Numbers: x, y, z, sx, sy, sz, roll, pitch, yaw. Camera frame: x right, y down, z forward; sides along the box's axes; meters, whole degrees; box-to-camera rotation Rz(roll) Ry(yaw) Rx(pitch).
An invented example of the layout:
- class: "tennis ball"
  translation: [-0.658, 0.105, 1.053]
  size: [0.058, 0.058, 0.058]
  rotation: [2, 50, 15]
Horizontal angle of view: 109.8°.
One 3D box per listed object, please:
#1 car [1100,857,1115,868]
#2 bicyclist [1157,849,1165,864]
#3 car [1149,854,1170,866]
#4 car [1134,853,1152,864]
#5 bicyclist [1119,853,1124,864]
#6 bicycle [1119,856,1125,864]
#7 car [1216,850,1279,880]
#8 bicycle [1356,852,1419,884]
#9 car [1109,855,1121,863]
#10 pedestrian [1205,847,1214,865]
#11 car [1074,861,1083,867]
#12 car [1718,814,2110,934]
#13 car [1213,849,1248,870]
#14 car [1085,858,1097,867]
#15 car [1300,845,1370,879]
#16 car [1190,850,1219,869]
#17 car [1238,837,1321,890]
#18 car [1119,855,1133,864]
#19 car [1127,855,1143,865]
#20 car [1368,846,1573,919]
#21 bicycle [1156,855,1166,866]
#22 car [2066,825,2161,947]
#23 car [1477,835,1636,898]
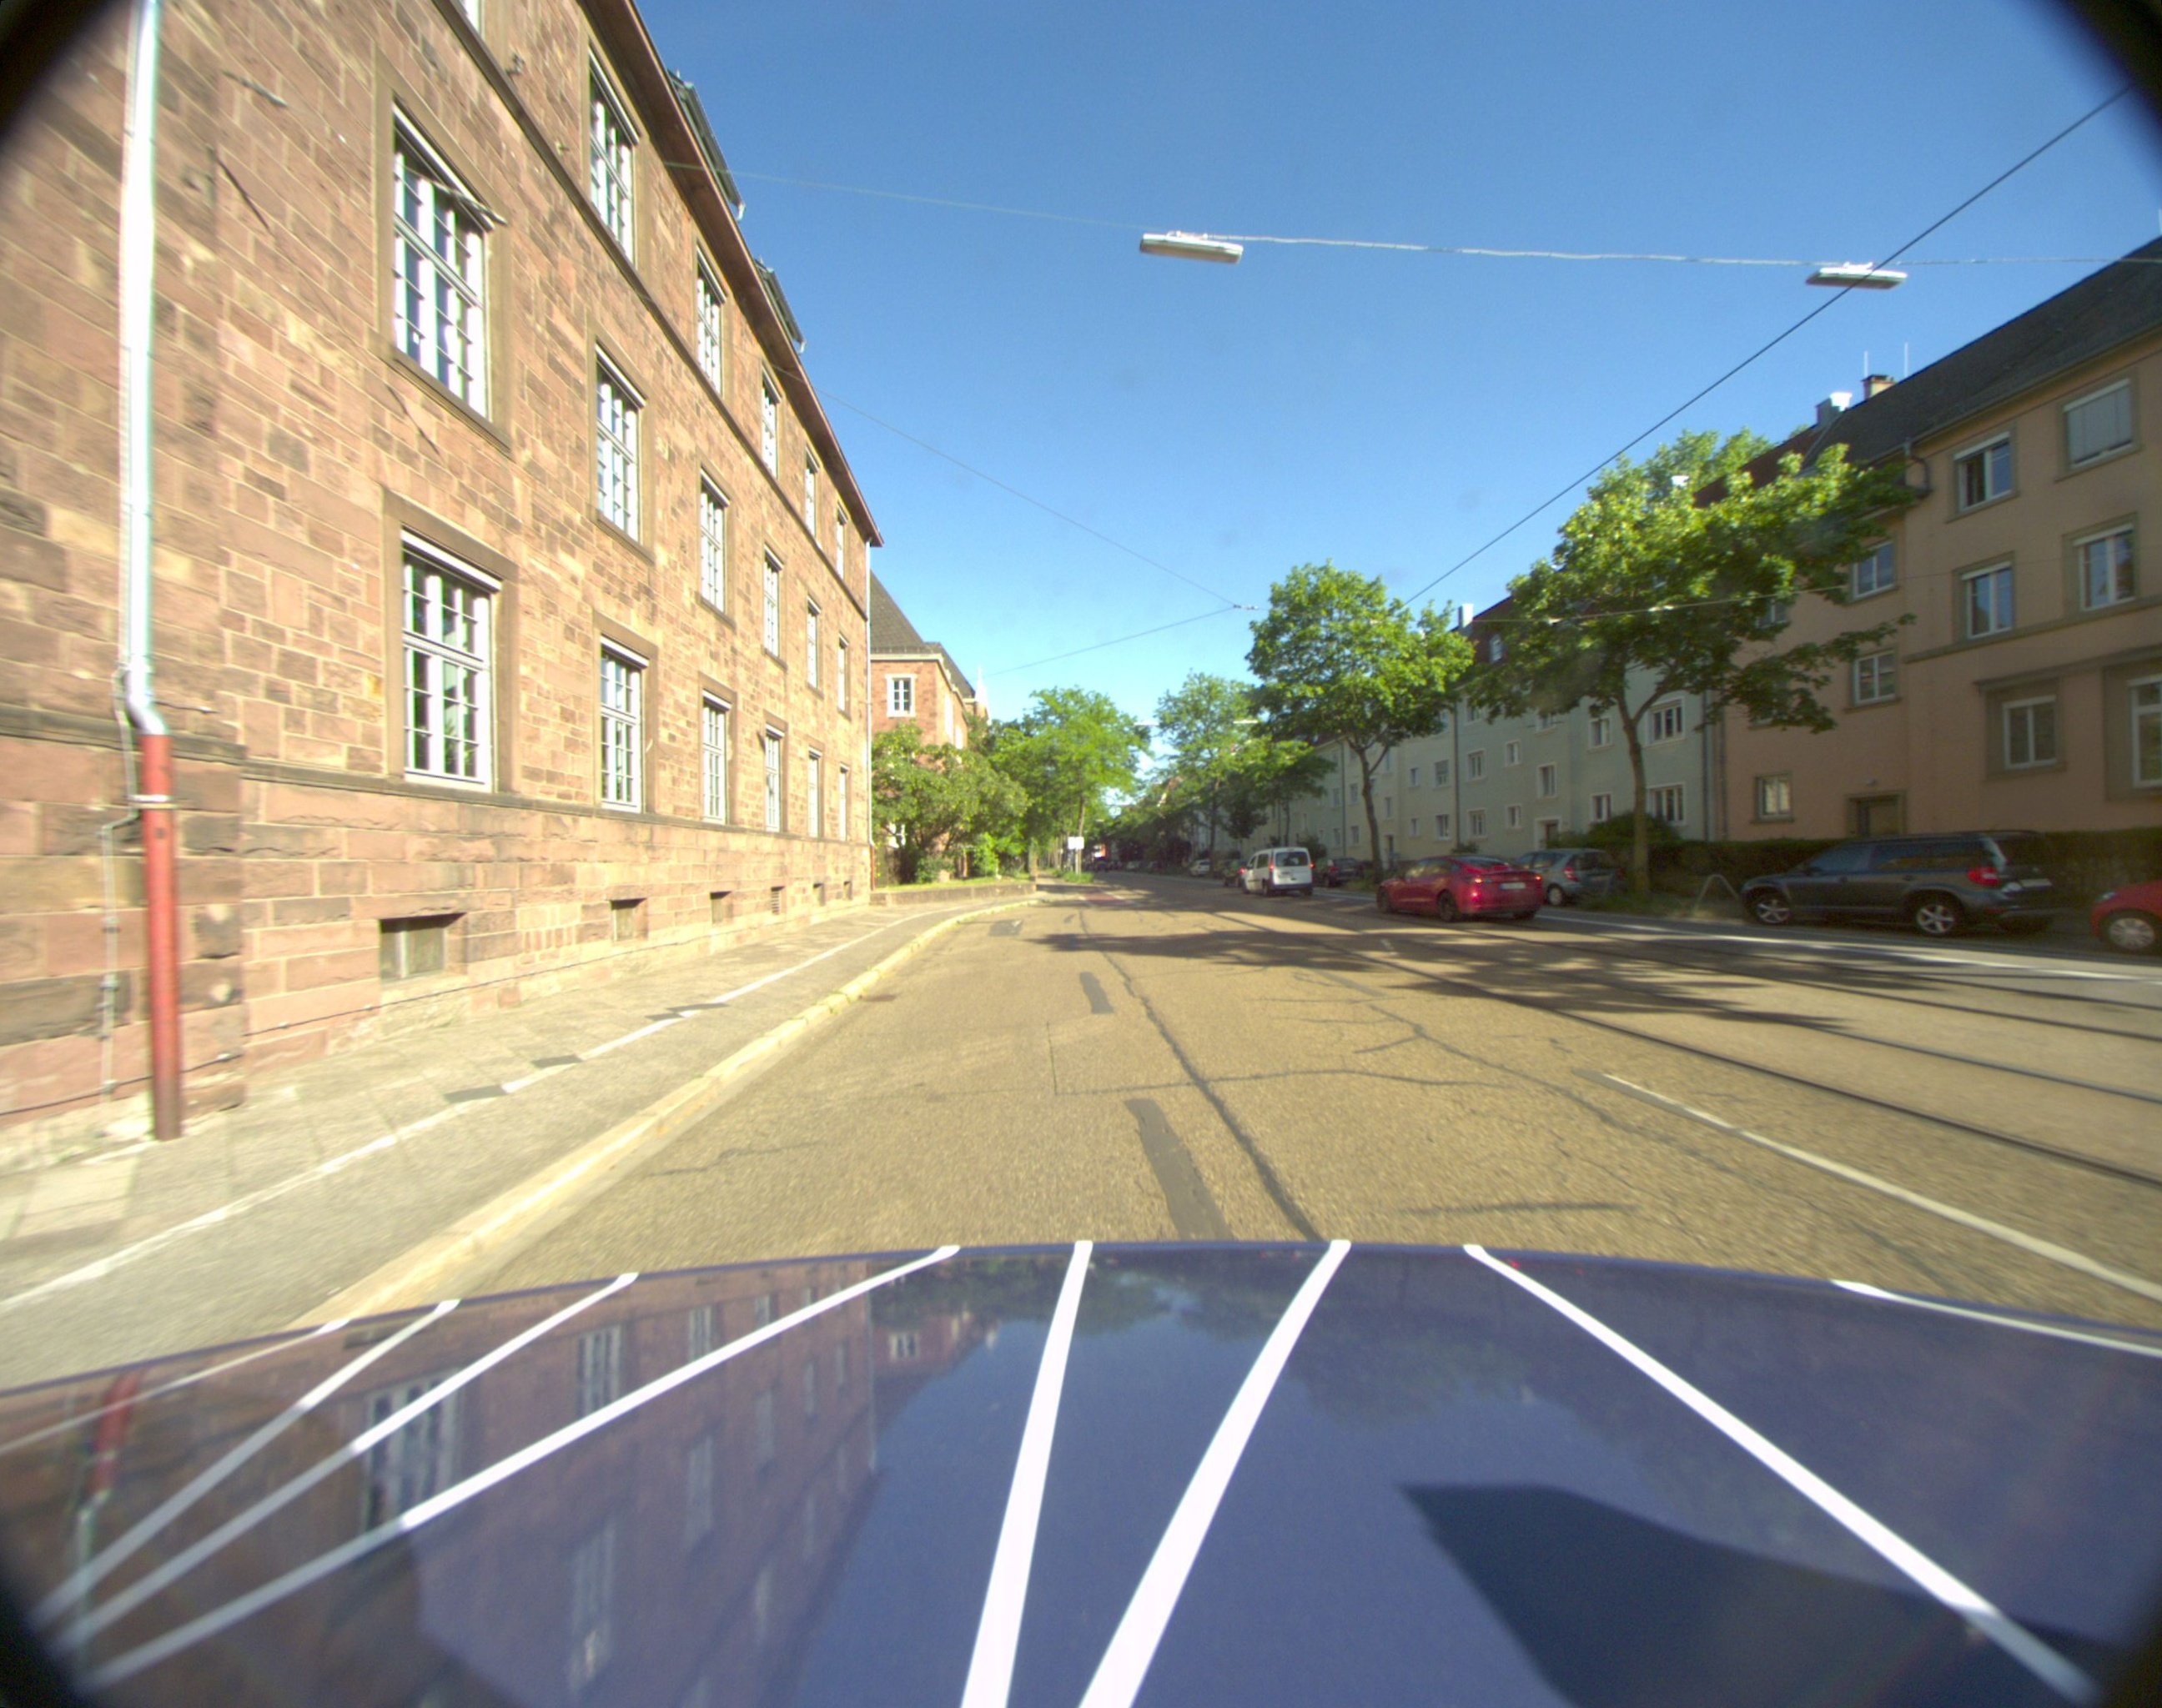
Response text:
- class: "car"
  translation: [3.851, 1.199, 110.286]
  size: [1.704, 1.462, 4.070]
  rotation: [-2, 0, -4]
- class: "bicyclist"
  translation: [8.600, 0.258, 81.461]
  size: [0.712, 1.597, 0.865]
  rotation: [1, 0, -3]
- class: "car"
  translation: [9.731, 0.739, 94.448]
  size: [1.822, 1.476, 4.205]
  rotation: [-3, 0, -3]
- class: "car"
  translation: [8.792, 0.673, 107.641]
  size: [1.763, 1.502, 4.437]
  rotation: [-3, 0, -4]
- class: "bicyclist"
  translation: [6.337, 0.660, 117.666]
  size: [0.628, 1.629, 0.940]
  rotation: [1, 0, -3]
- class: "bicycle"
  translation: [6.335, 0.974, 117.590]
  size: [0.628, 1.170, 1.912]
  rotation: [1, 0, -3]
- class: "car"
  translation: [8.496, 0.538, 39.172]
  size: [1.815, 1.379, 4.437]
  rotation: [-1, 0, -7]
- class: "bicycle"
  translation: [12.830, 0.590, 31.833]
  size: [2.290, 1.191, 0.560]
  rotation: [-4, 0, 4]
- class: "car"
  translation: [6.643, 1.017, 148.873]
  size: [1.781, 1.532, 4.484]
  rotation: [-3, 0, -3]
- class: "pedestrian"
  translation: [12.905, 0.192, 76.116]
  size: [0.693, 1.791, 0.813]
  rotation: [-1, 0, -3]
- class: "car"
  translation: [-0.672, 2.521, 192.056]
  size: [1.763, 1.431, 4.522]
  rotation: [-2, 0, -4]
- class: "car"
  translation: [14.137, 0.309, 13.377]
  size: [1.751, 1.651, 4.388]
  rotation: [-4, 0, -8]
- class: "car"
  translation: [11.618, 0.450, 59.287]
  size: [1.692, 1.476, 3.758]
  rotation: [-4, 0, -4]
- class: "car"
  translation: [1.759, 1.407, 131.413]
  size: [1.704, 1.431, 4.070]
  rotation: [-2, 0, -4]
- class: "car"
  translation: [12.860, 0.392, 38.701]
  size: [1.750, 1.482, 4.322]
  rotation: [-4, 0, -4]
- class: "car"
  translation: [11.151, 0.489, 68.786]
  size: [1.707, 1.476, 4.077]
  rotation: [-4, 0, -3]
- class: "car"
  translation: [7.596, 0.352, 29.561]
  size: [1.815, 1.877, 4.439]
  rotation: [-1, 0, -3]
- class: "car"
  translation: [7.677, 0.950, 129.492]
  size: [1.710, 1.398, 4.332]
  rotation: [-3, 0, -4]
- class: "car"
  translation: [8.361, 0.925, 118.149]
  size: [1.822, 1.502, 4.369]
  rotation: [-3, 0, -4]
- class: "car"
  translation: [8.522, 0.570, 17.210]
  size: [1.926, 1.379, 4.685]
  rotation: [-1, 0, -5]
- class: "bicycle"
  translation: [8.587, 0.669, 81.458]
  size: [0.696, 1.170, 1.912]
  rotation: [1, 0, -3]
- class: "car"
  translation: [14.583, 0.376, 8.750]
  size: [1.586, 1.479, 3.610]
  rotation: [-4, 0, -8]
- class: "car"
  translation: [13.727, 0.352, 22.238]
  size: [1.750, 1.560, 4.067]
  rotation: [-4, 0, -6]
